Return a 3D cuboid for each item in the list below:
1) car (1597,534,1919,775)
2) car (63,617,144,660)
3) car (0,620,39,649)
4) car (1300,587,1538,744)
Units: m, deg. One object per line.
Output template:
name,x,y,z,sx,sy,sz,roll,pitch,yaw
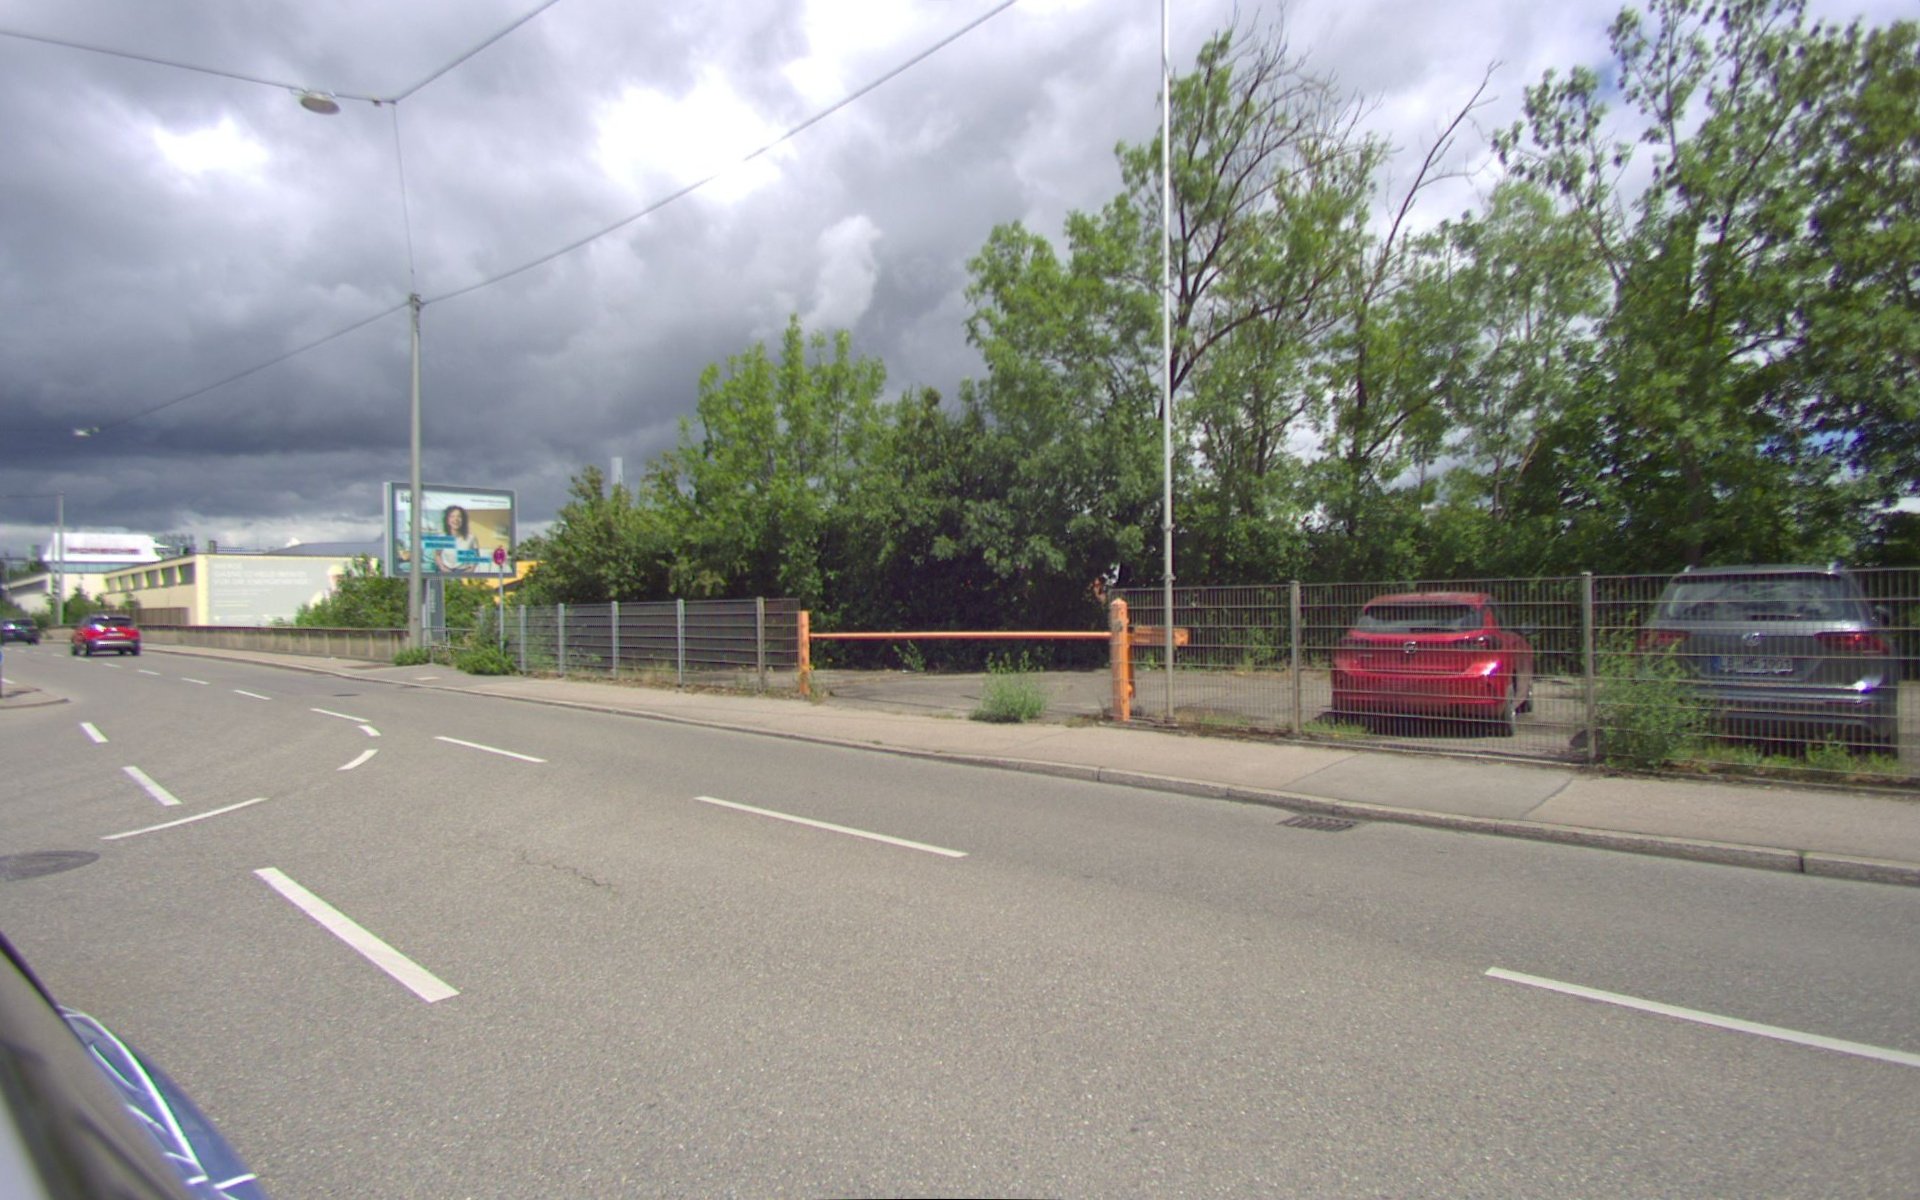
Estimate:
car,7.390,0.415,9.559,1.997,1.748,4.065,-1,-1,37
car,-33.948,1.510,40.074,4.152,1.611,1.910,-2,-3,42
car,-57.025,2.068,61.015,3.999,1.630,1.836,-2,-1,42
car,5.274,0.607,11.353,1.897,1.429,3.822,-1,-1,33
